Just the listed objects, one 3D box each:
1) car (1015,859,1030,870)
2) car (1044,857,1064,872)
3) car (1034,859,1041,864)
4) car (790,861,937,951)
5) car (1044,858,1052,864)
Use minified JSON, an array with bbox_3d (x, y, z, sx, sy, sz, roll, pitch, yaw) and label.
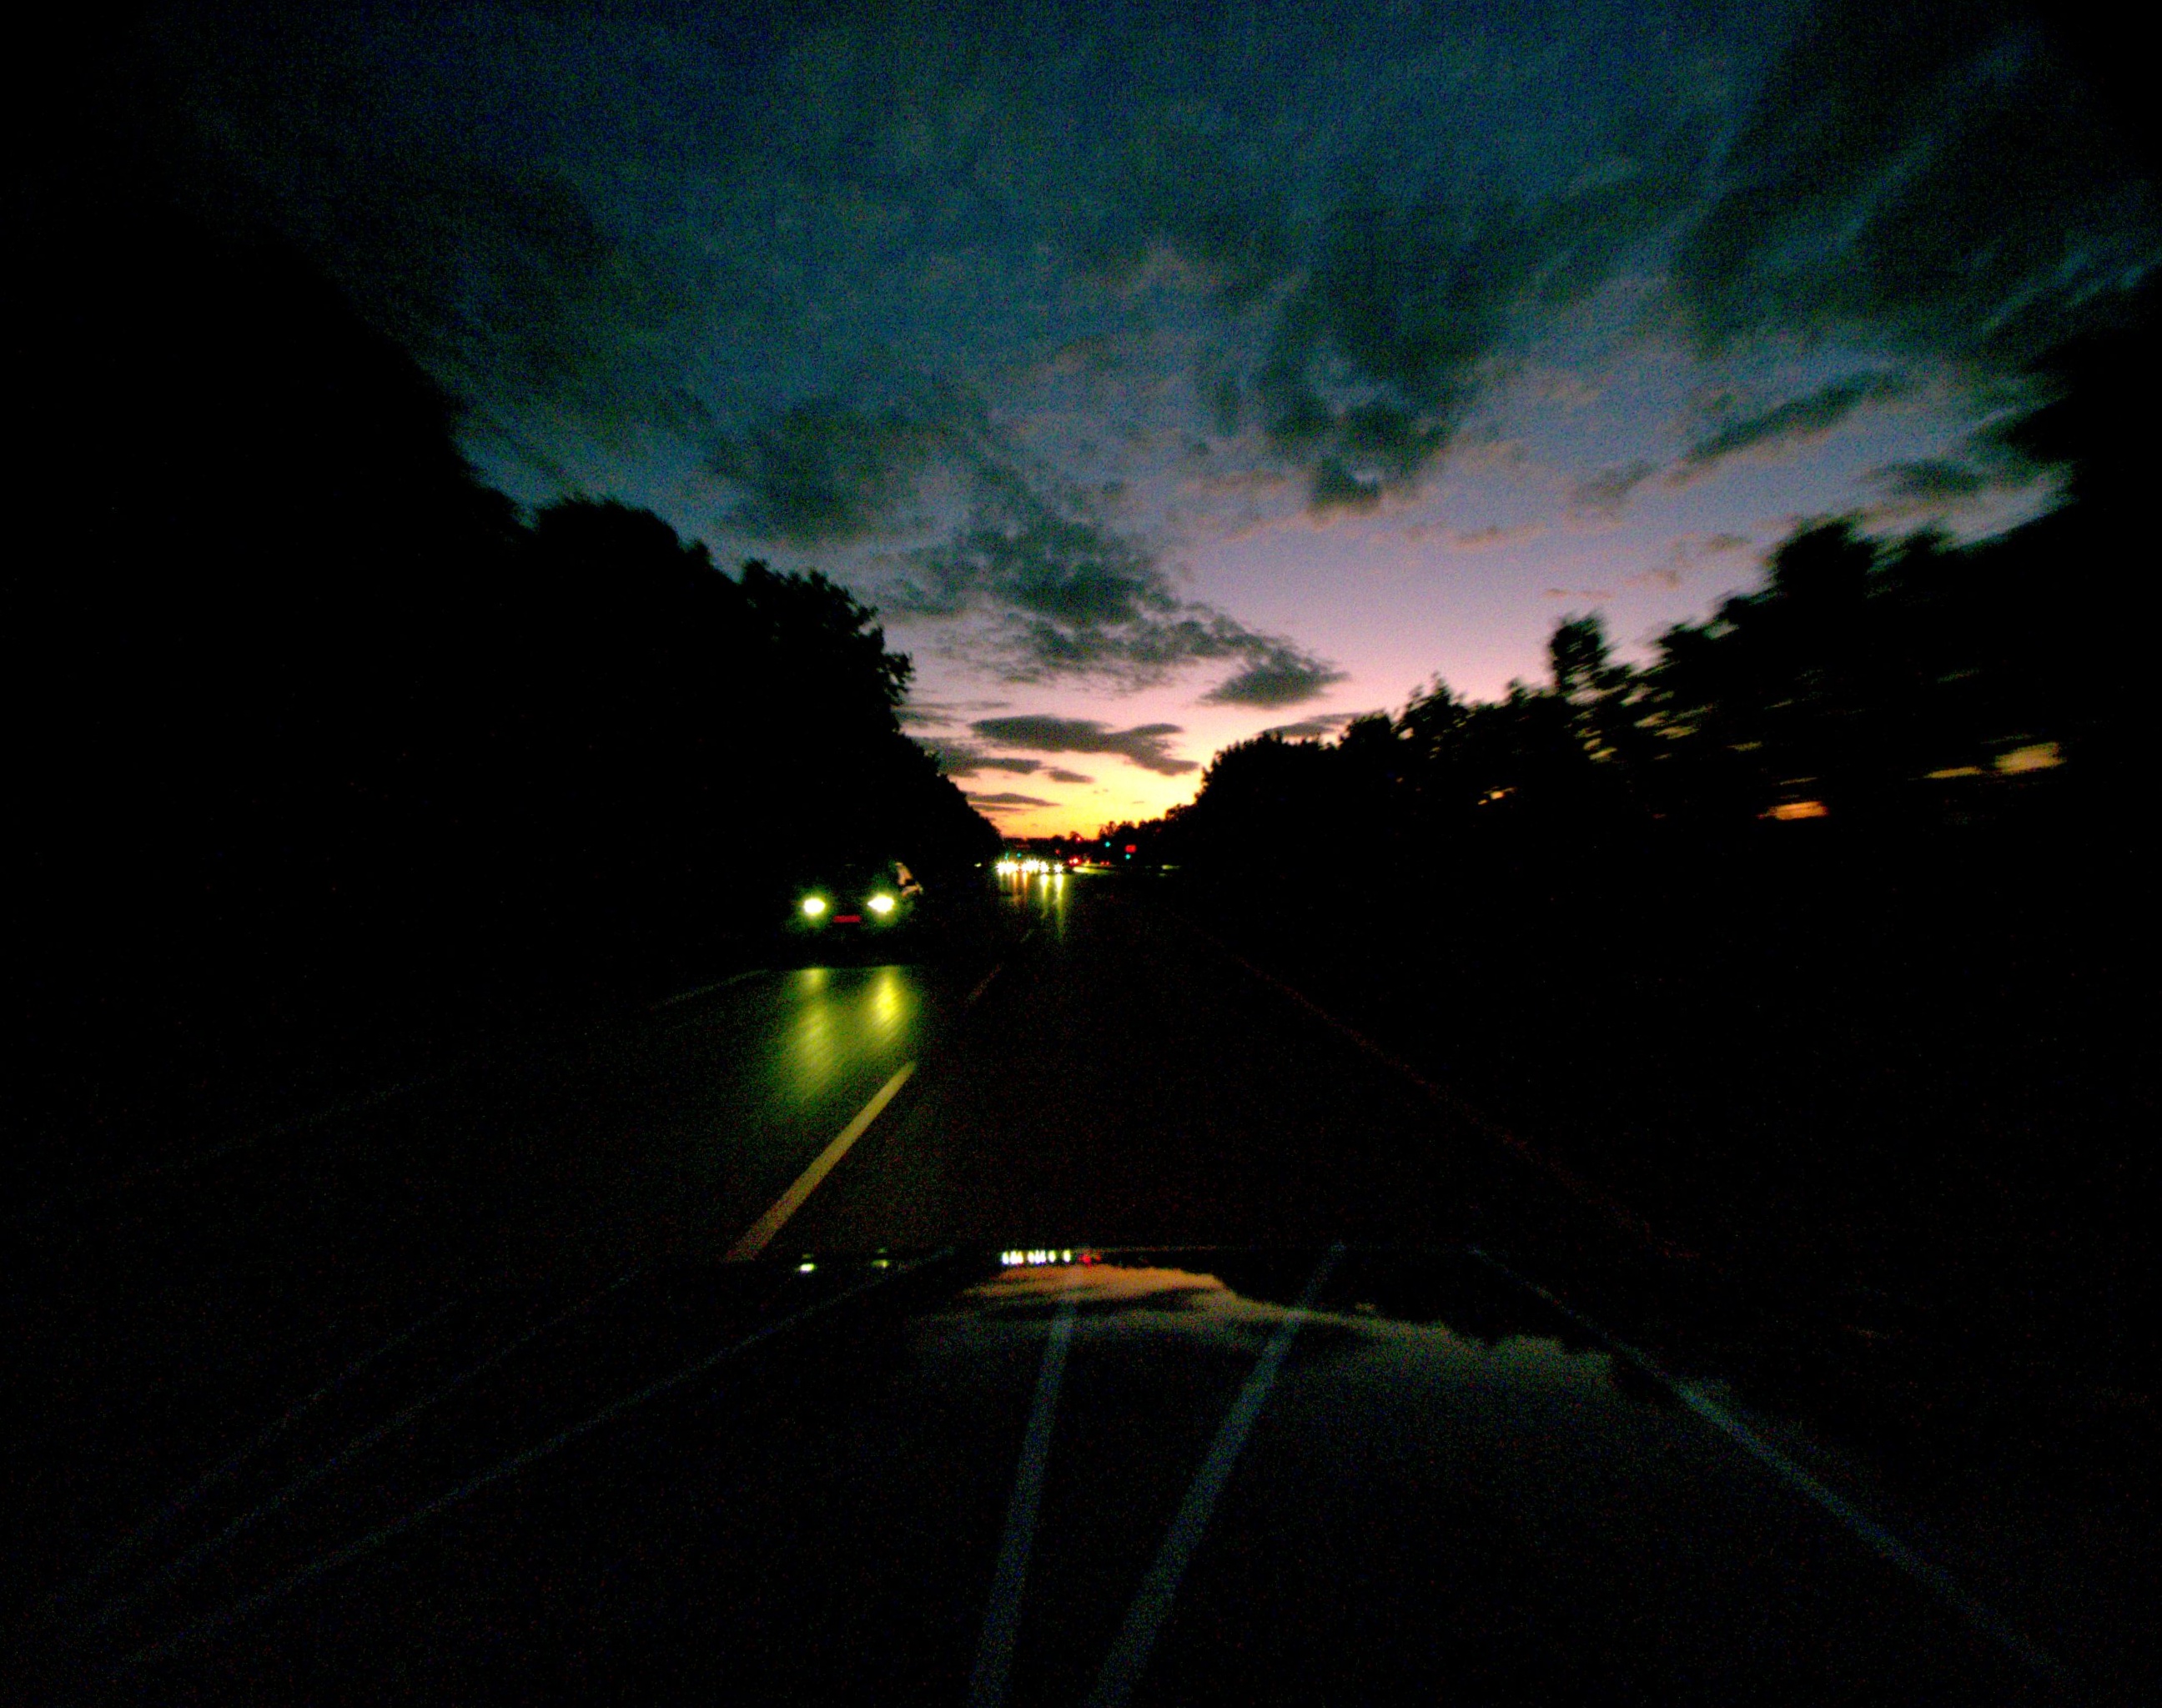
[{"bbox_3d":[-7.669,1.361,99.773,1.624,1.460,3.871,-2,0,1],"label":"car"},{"bbox_3d":[-2.799,1.063,79.310,1.901,1.472,4.514,-2,0,0],"label":"car"},{"bbox_3d":[-12.675,2.242,221.020,1.999,1.423,4.501,0,0,-1],"label":"car"},{"bbox_3d":[-4.509,0.993,16.562,1.999,1.600,4.710,-2,0,-3],"label":"car"},{"bbox_3d":[-8.683,1.808,201.952,1.999,1.602,4.501,-1,0,-1],"label":"car"}]
